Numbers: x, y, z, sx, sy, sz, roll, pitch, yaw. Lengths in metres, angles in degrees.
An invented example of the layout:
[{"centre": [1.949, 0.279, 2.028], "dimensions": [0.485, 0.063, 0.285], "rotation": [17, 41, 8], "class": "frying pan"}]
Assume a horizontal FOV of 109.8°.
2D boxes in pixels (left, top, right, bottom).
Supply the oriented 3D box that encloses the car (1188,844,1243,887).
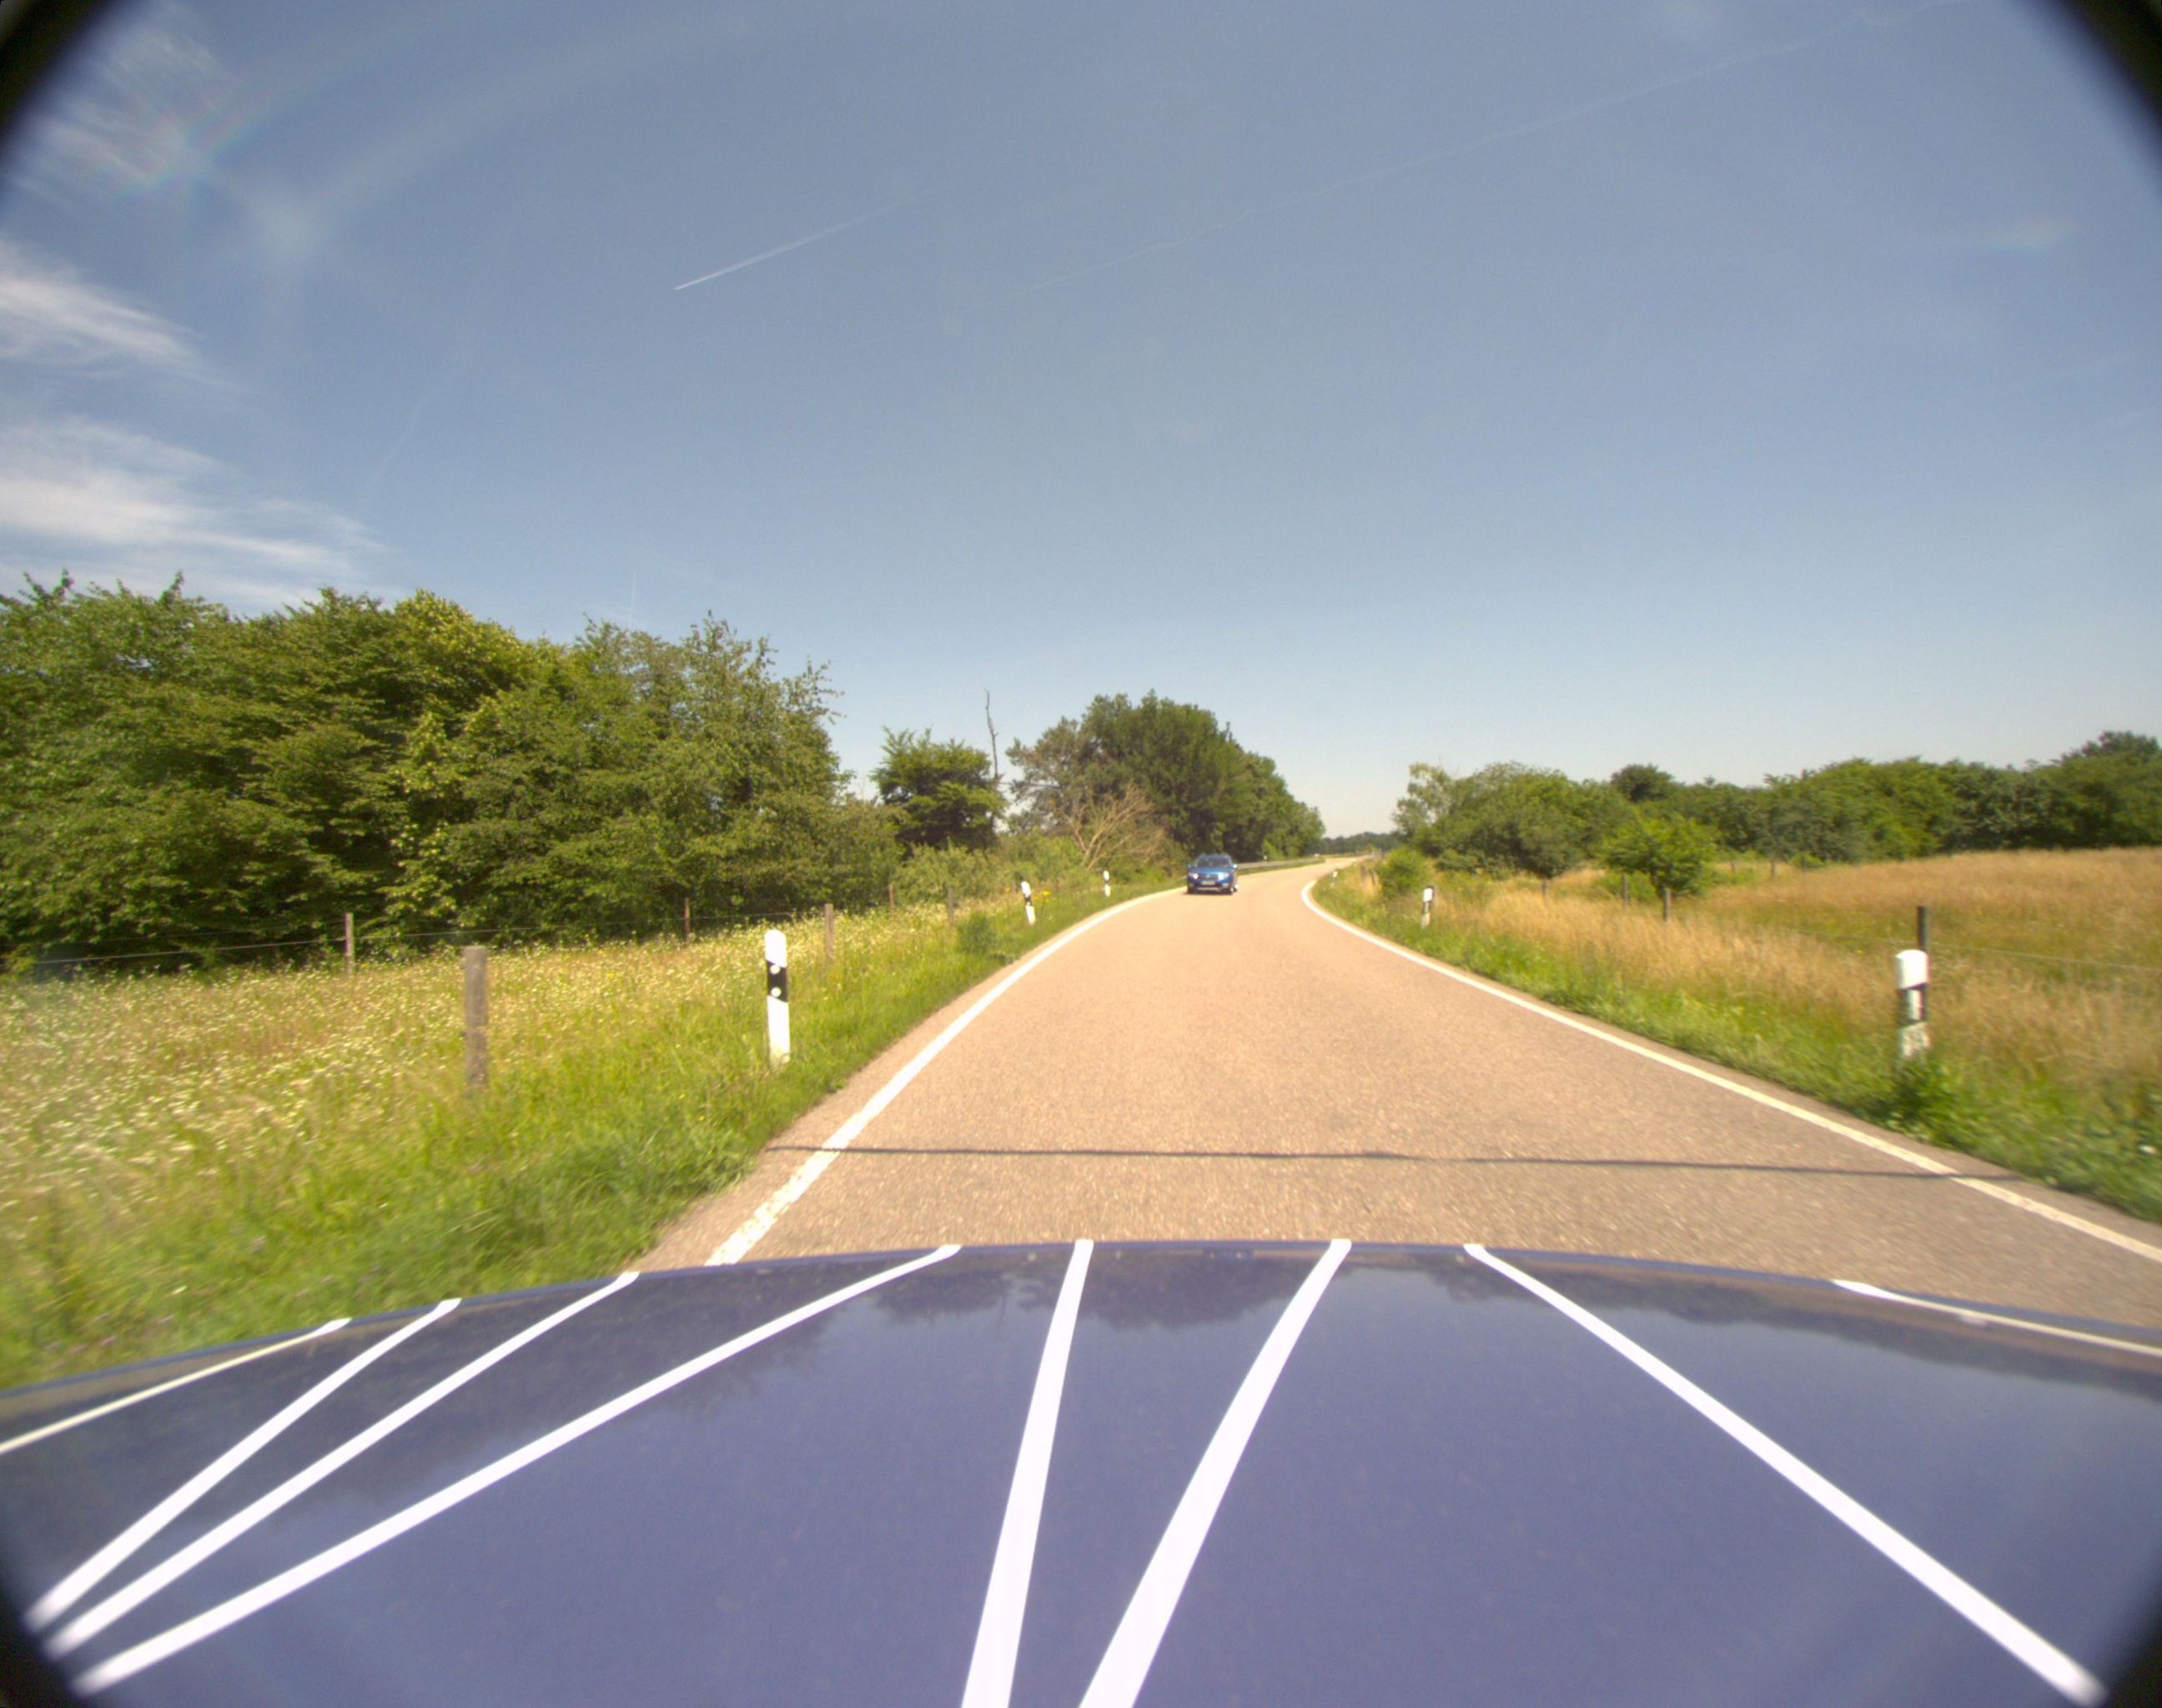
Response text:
[{"centre": [5.469, 0.405, 30.589], "dimensions": [1.732, 1.572, 4.004], "rotation": [0, 1, 16], "class": "car"}]
